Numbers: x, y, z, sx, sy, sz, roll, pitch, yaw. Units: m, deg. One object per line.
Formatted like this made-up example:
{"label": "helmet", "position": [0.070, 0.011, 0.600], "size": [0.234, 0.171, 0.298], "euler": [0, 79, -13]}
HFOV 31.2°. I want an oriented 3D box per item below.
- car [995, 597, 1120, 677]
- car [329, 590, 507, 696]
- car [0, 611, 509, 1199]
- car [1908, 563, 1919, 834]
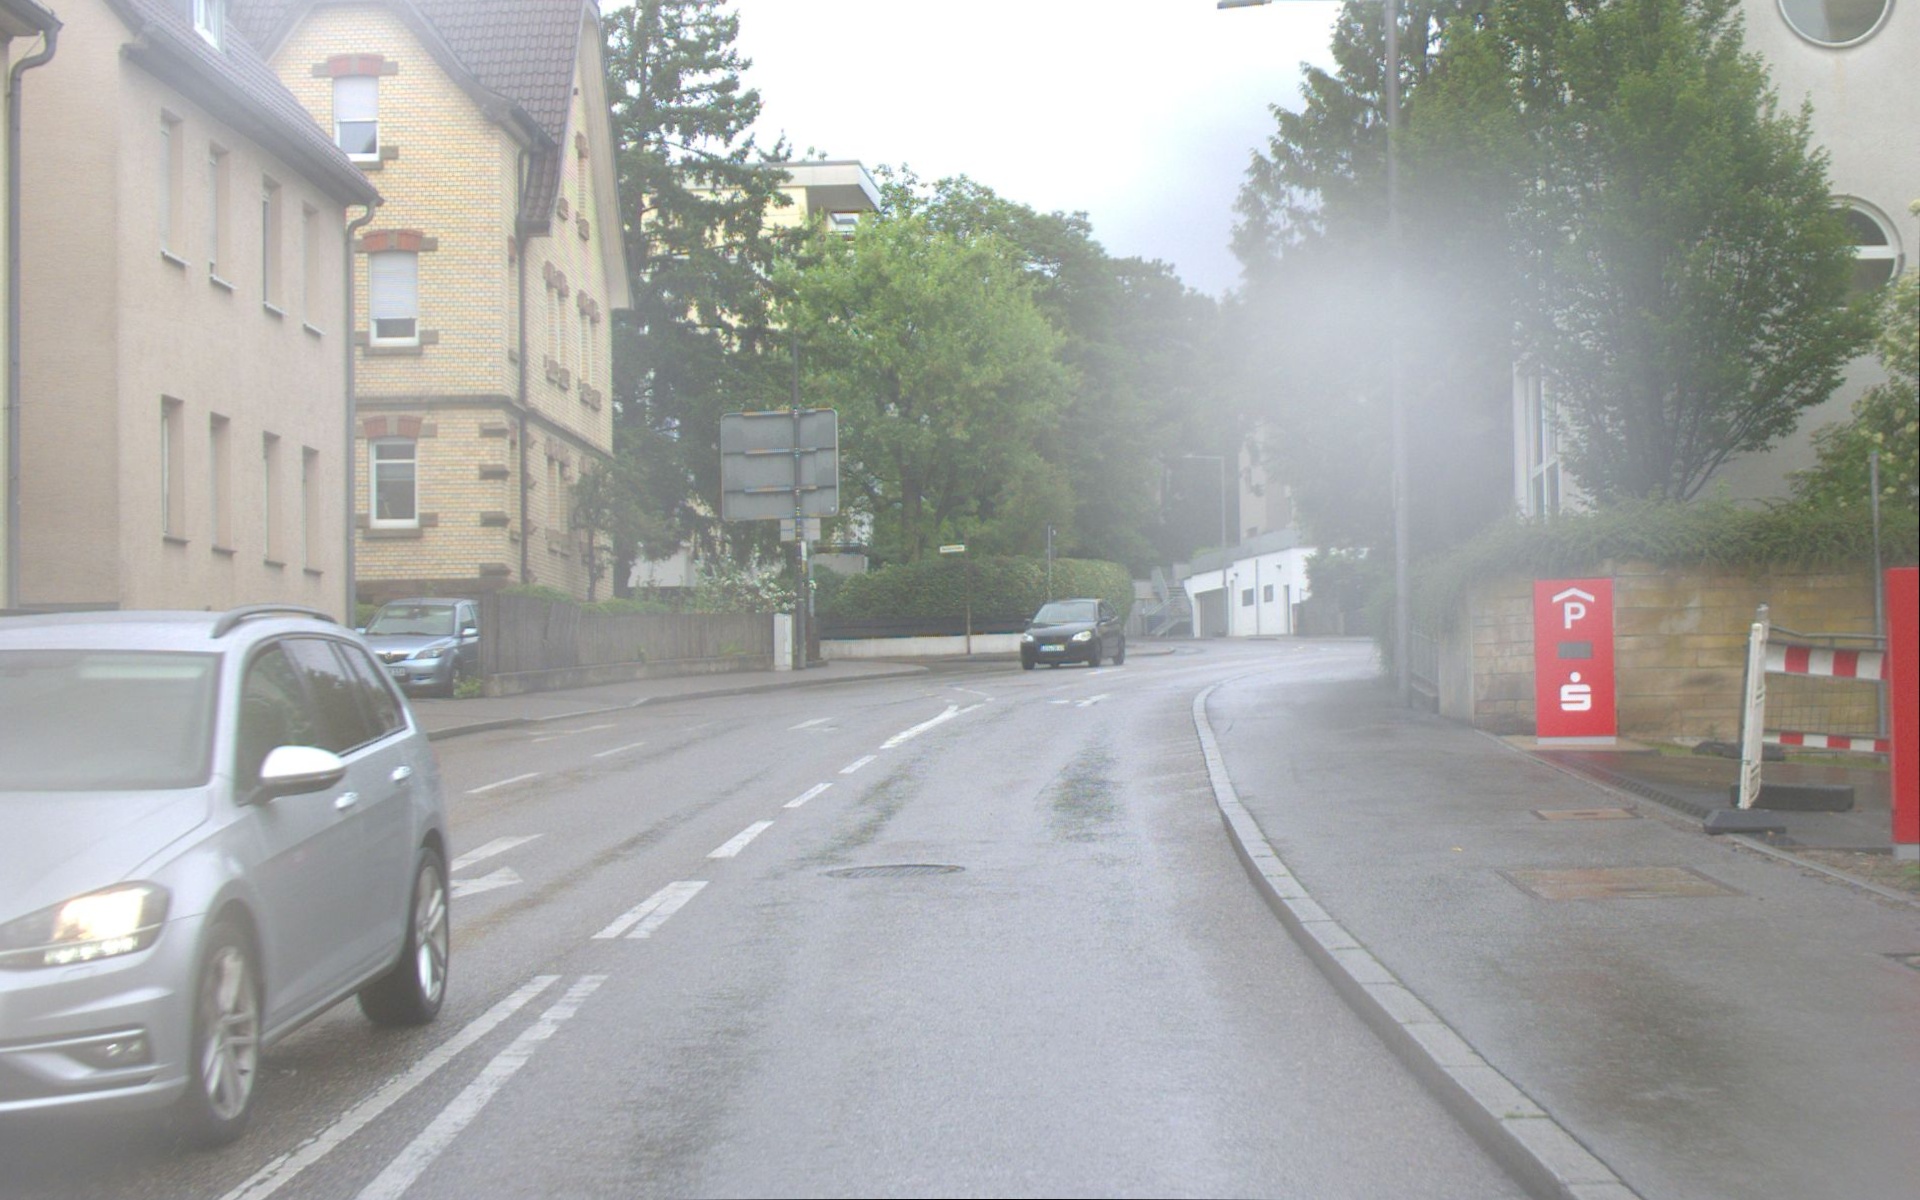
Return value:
{"label": "car", "position": [2.096, 0.774, 72.685], "size": [1.746, 1.566, 3.810], "euler": [2, 0, 15]}
{"label": "car", "position": [-8.139, 0.617, 51.936], "size": [1.771, 1.498, 3.882], "euler": [0, 1, 5]}
{"label": "car", "position": [-2.752, 0.780, 10.824], "size": [1.799, 1.434, 4.688], "euler": [0, 0, 3]}
{"label": "car", "position": [7.110, 0.564, 18.287], "size": [3.667, 1.498, 1.776], "euler": [0, 0, 3]}
